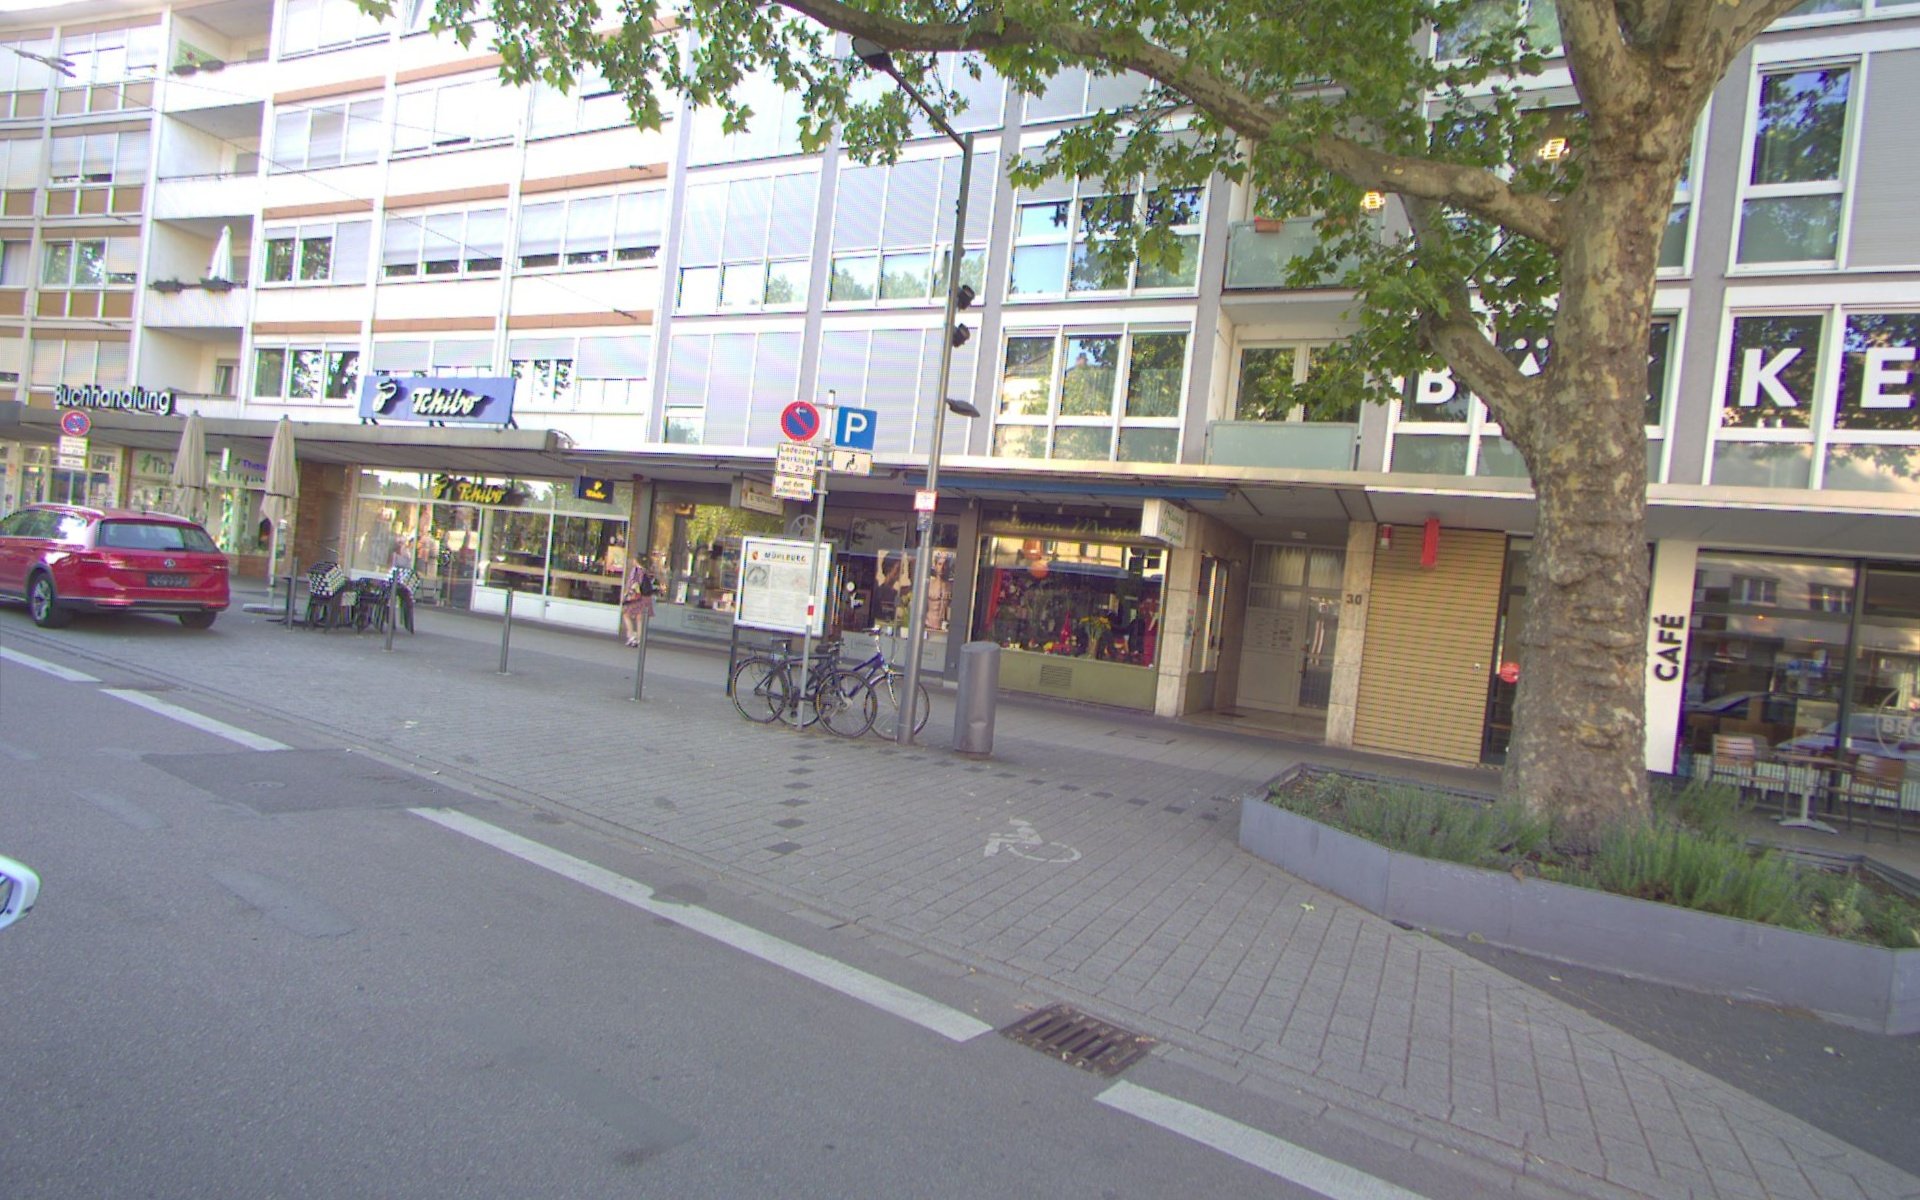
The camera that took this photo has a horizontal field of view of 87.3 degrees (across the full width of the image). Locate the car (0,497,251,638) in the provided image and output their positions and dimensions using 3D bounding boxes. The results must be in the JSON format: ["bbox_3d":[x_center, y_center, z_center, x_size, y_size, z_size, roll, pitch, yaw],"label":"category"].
[{"bbox_3d":[-11.648,-0.490,13.446,4.229,1.502,1.772,6,1,28],"label":"car"}]

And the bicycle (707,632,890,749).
[{"bbox_3d":[-1.643,0.902,10.241,1.743,0.951,0.391,6,2,12],"label":"bicycle"}]

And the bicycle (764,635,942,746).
[{"bbox_3d":[-1.120,0.930,10.554,1.743,0.931,0.391,6,2,12],"label":"bicycle"}]

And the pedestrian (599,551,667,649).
[{"bbox_3d":[-5.699,0.004,17.528,0.776,1.613,0.651,7,2,26],"label":"pedestrian"}]
